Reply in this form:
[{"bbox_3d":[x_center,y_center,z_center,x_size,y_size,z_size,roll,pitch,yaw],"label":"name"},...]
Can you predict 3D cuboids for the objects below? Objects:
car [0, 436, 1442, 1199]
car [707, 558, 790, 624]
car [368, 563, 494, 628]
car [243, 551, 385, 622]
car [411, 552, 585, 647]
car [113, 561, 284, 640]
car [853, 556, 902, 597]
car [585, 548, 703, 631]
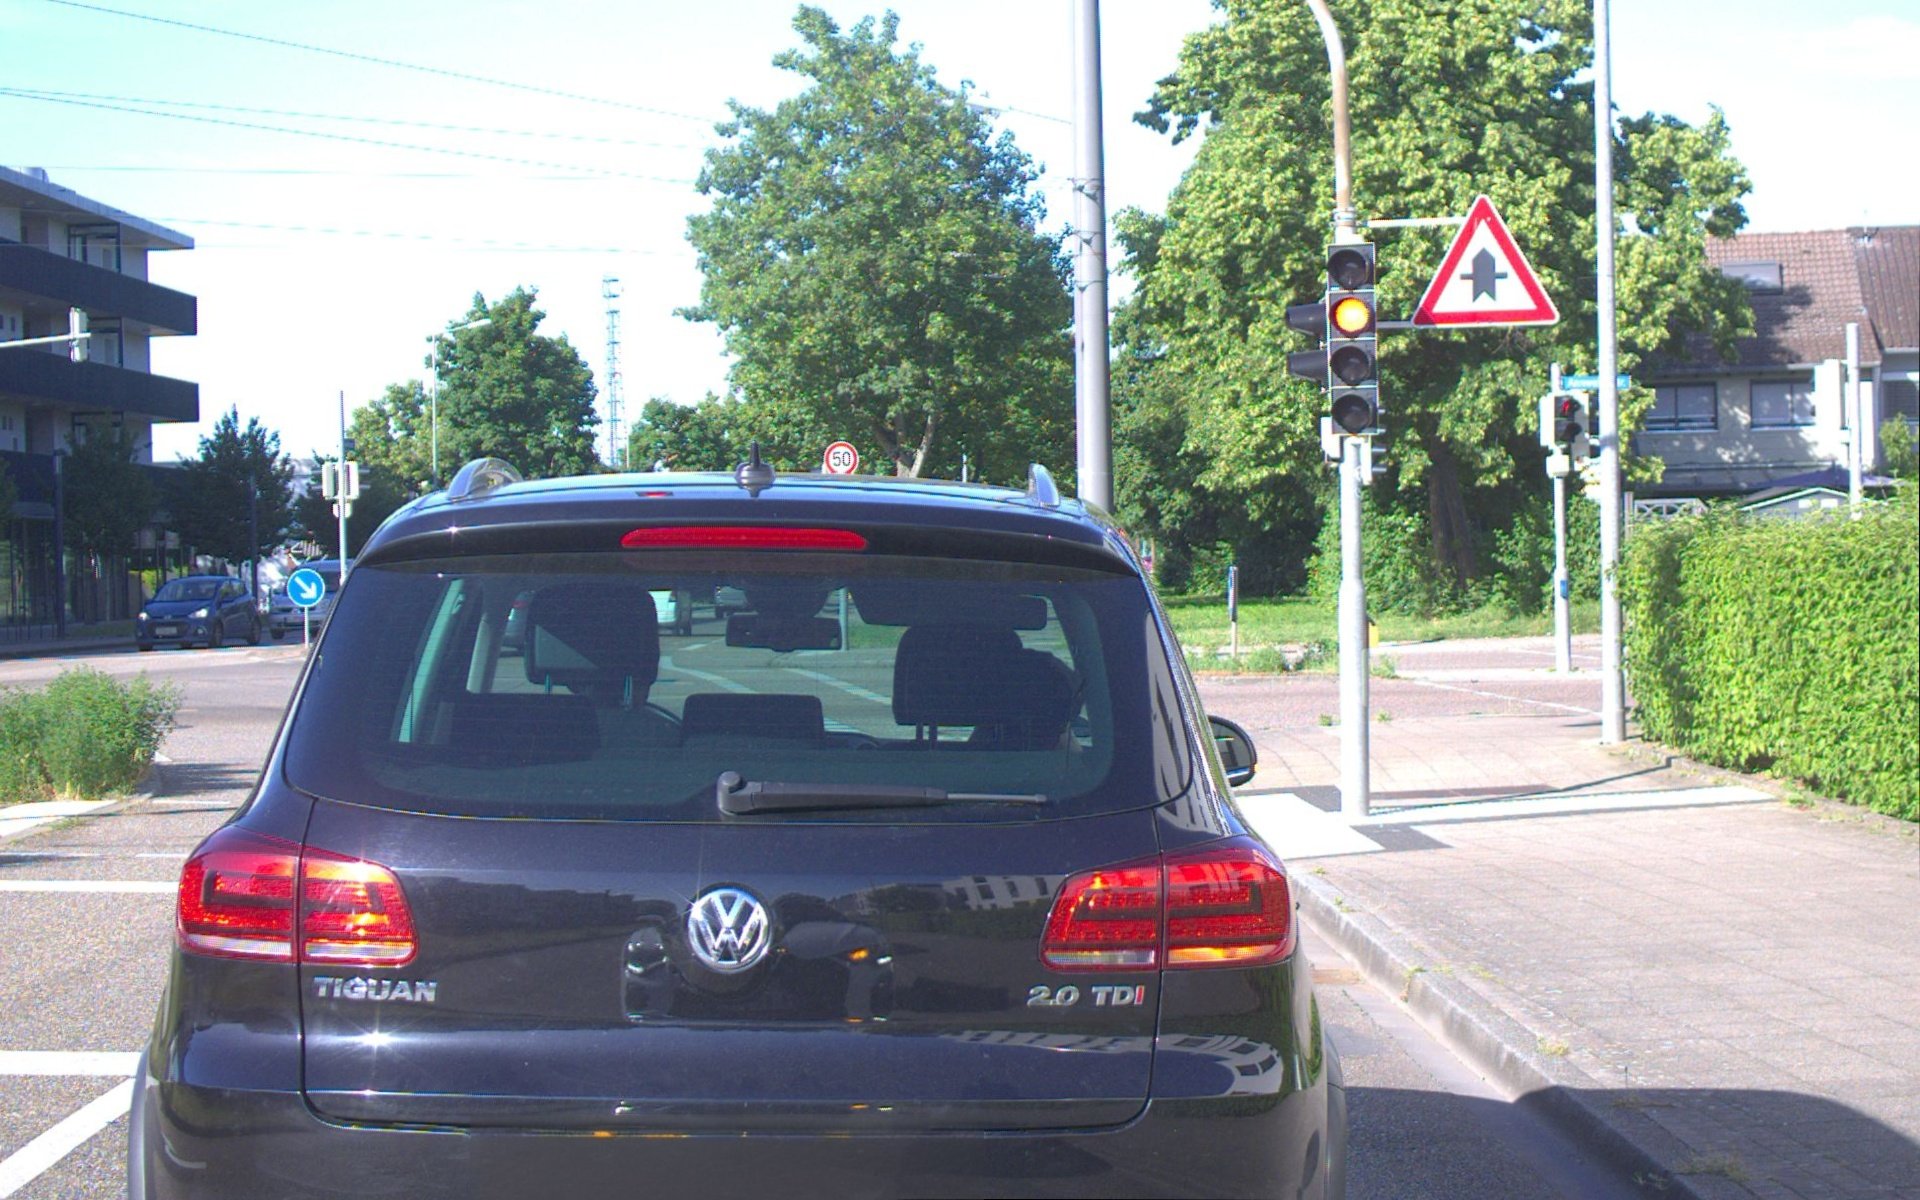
[{"bbox_3d":[-0.339,0.594,6.487,1.869,1.632,4.000,1,1,-1],"label":"car"},{"bbox_3d":[-6.078,-0.276,99.240,1.993,1.830,4.000,1,1,2],"label":"car"},{"bbox_3d":[-13.218,-0.133,86.086,1.994,1.569,4.338,1,1,7],"label":"car"},{"bbox_3d":[-14.903,-0.314,79.562,1.994,1.569,4.338,1,1,7],"label":"car"},{"bbox_3d":[-7.642,-0.033,57.212,1.864,1.480,4.109,-1,1,7],"label":"car"},{"bbox_3d":[-15.777,-0.006,71.431,1.994,1.569,4.337,1,1,9],"label":"car"},{"bbox_3d":[-3.439,-0.980,143.334,1.993,1.678,4.000,1,1,-2],"label":"car"},{"bbox_3d":[-6.735,-0.246,73.640,1.864,1.714,3.686,-1,1,5],"label":"car"}]
